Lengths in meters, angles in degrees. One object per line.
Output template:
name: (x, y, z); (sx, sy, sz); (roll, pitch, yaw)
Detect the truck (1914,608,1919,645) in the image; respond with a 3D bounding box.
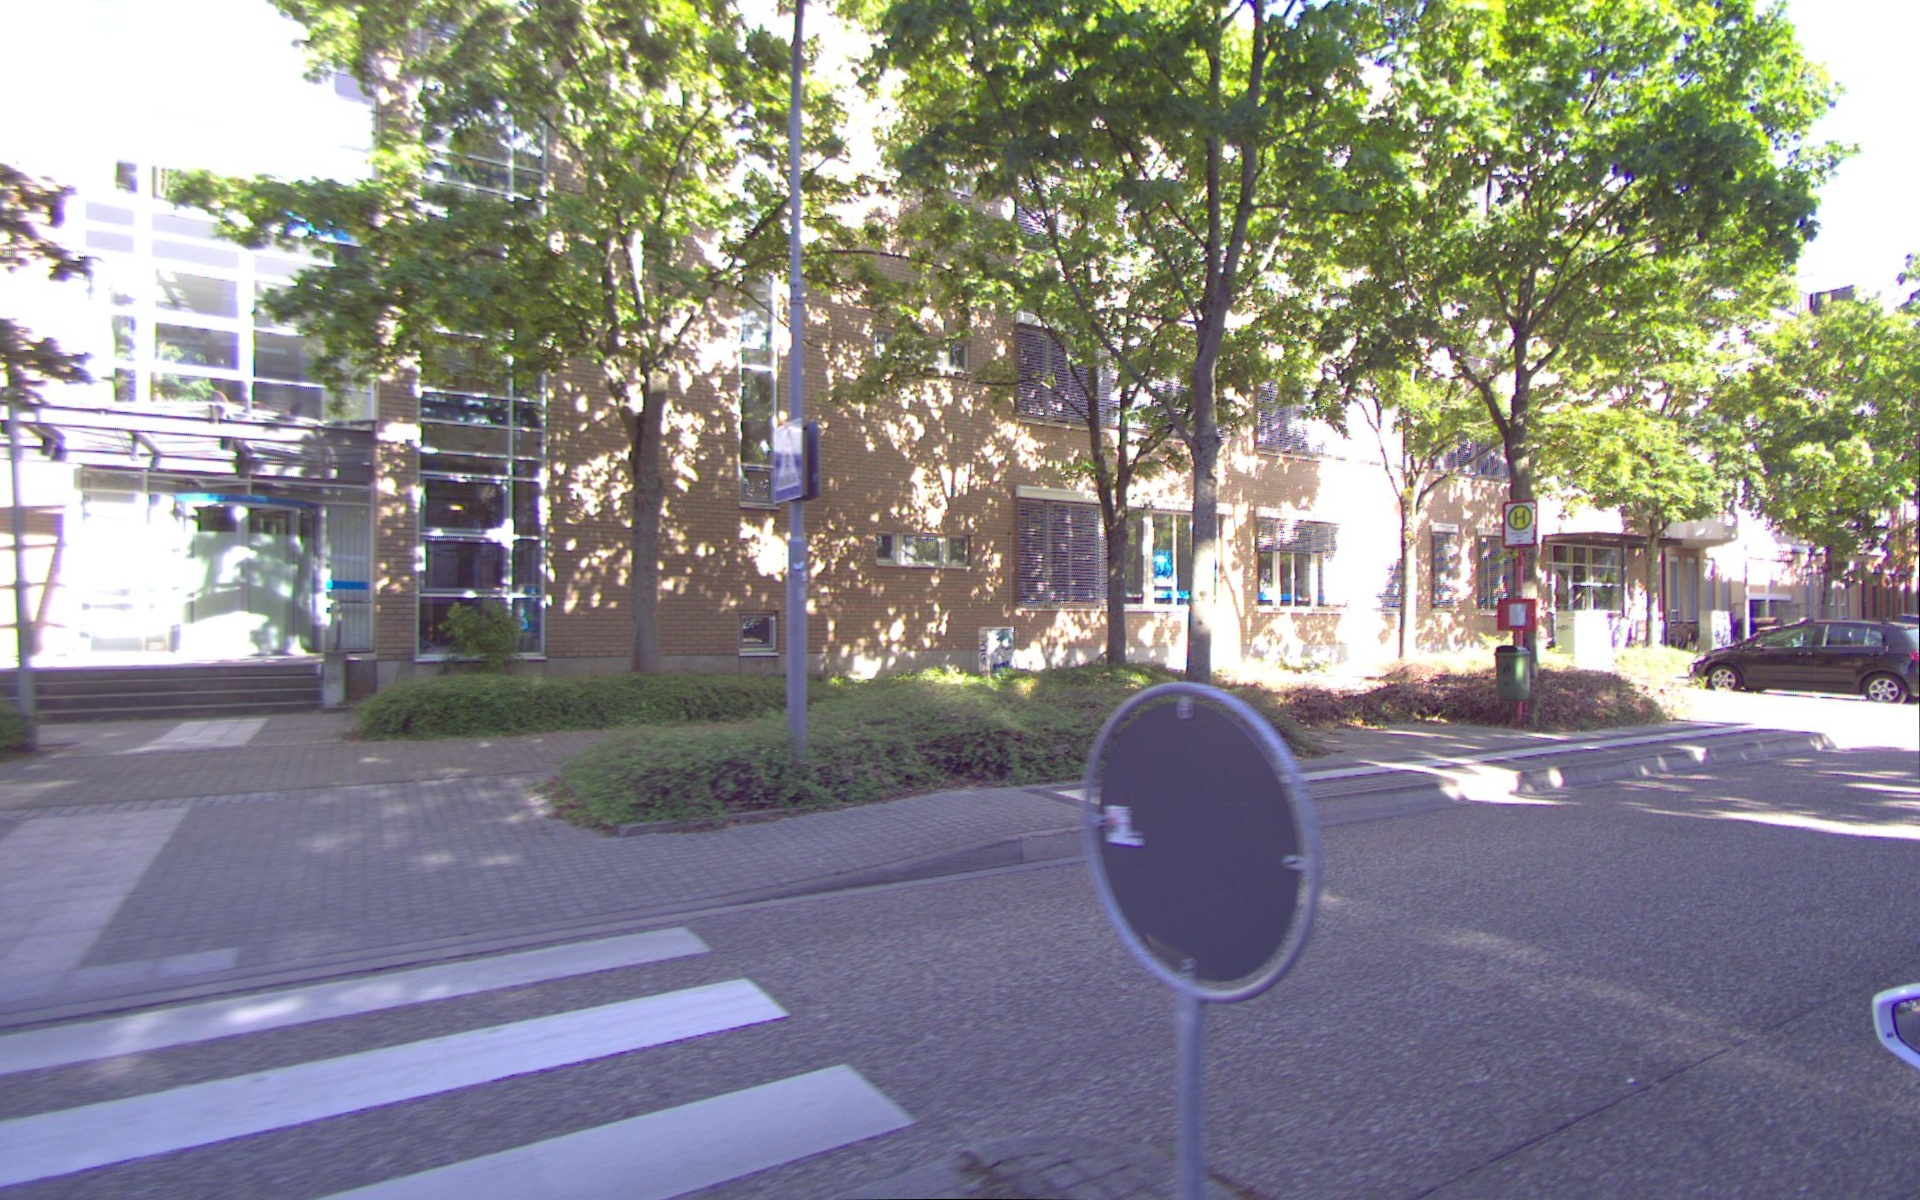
truck: (73.967, 1.878, 73.173); (2.550, 2.740, 6.070); (0, -2, -33)

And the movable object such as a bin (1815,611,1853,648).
movable object such as a bin: (38.487, 1.298, 44.209); (1.236, 1.583, 1.134); (1, -2, -44)

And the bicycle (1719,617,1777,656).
bicycle: (30.337, 1.383, 38.687); (1.702, 1.427, 0.612); (1, 0, 36)

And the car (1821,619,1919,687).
car: (22.324, 1.214, 22.906); (1.734, 1.472, 3.734); (1, 0, -31)

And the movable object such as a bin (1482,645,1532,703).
movable object such as a bin: (7.285, 0.975, 13.388); (0.403, 0.741, 0.439); (1, 0, -31)

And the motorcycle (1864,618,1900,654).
motorcycle: (41.958, 1.644, 45.712); (2.087, 1.612, 0.710); (0, -2, -33)

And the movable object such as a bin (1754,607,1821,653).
movable object such as a bin: (33.449, 1.194, 40.618); (1.644, 1.820, 1.592); (0, -1, -29)

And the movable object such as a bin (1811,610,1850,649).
movable object such as a bin: (37.537, 1.274, 43.310); (1.432, 1.641, 1.134); (1, -2, -44)

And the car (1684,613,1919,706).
car: (17.310, 1.118, 20.329); (1.709, 1.591, 3.966); (1, 1, -31)

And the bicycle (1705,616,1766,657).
bicycle: (28.294, 1.315, 36.677); (1.702, 1.427, 0.612); (1, 0, 36)

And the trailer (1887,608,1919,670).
trailer: (27.658, 1.083, 27.718); (1.692, 1.710, 2.711); (0, 0, -31)

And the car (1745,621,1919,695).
car: (19.661, 1.213, 21.524); (1.780, 1.421, 4.130); (1, 0, -31)
